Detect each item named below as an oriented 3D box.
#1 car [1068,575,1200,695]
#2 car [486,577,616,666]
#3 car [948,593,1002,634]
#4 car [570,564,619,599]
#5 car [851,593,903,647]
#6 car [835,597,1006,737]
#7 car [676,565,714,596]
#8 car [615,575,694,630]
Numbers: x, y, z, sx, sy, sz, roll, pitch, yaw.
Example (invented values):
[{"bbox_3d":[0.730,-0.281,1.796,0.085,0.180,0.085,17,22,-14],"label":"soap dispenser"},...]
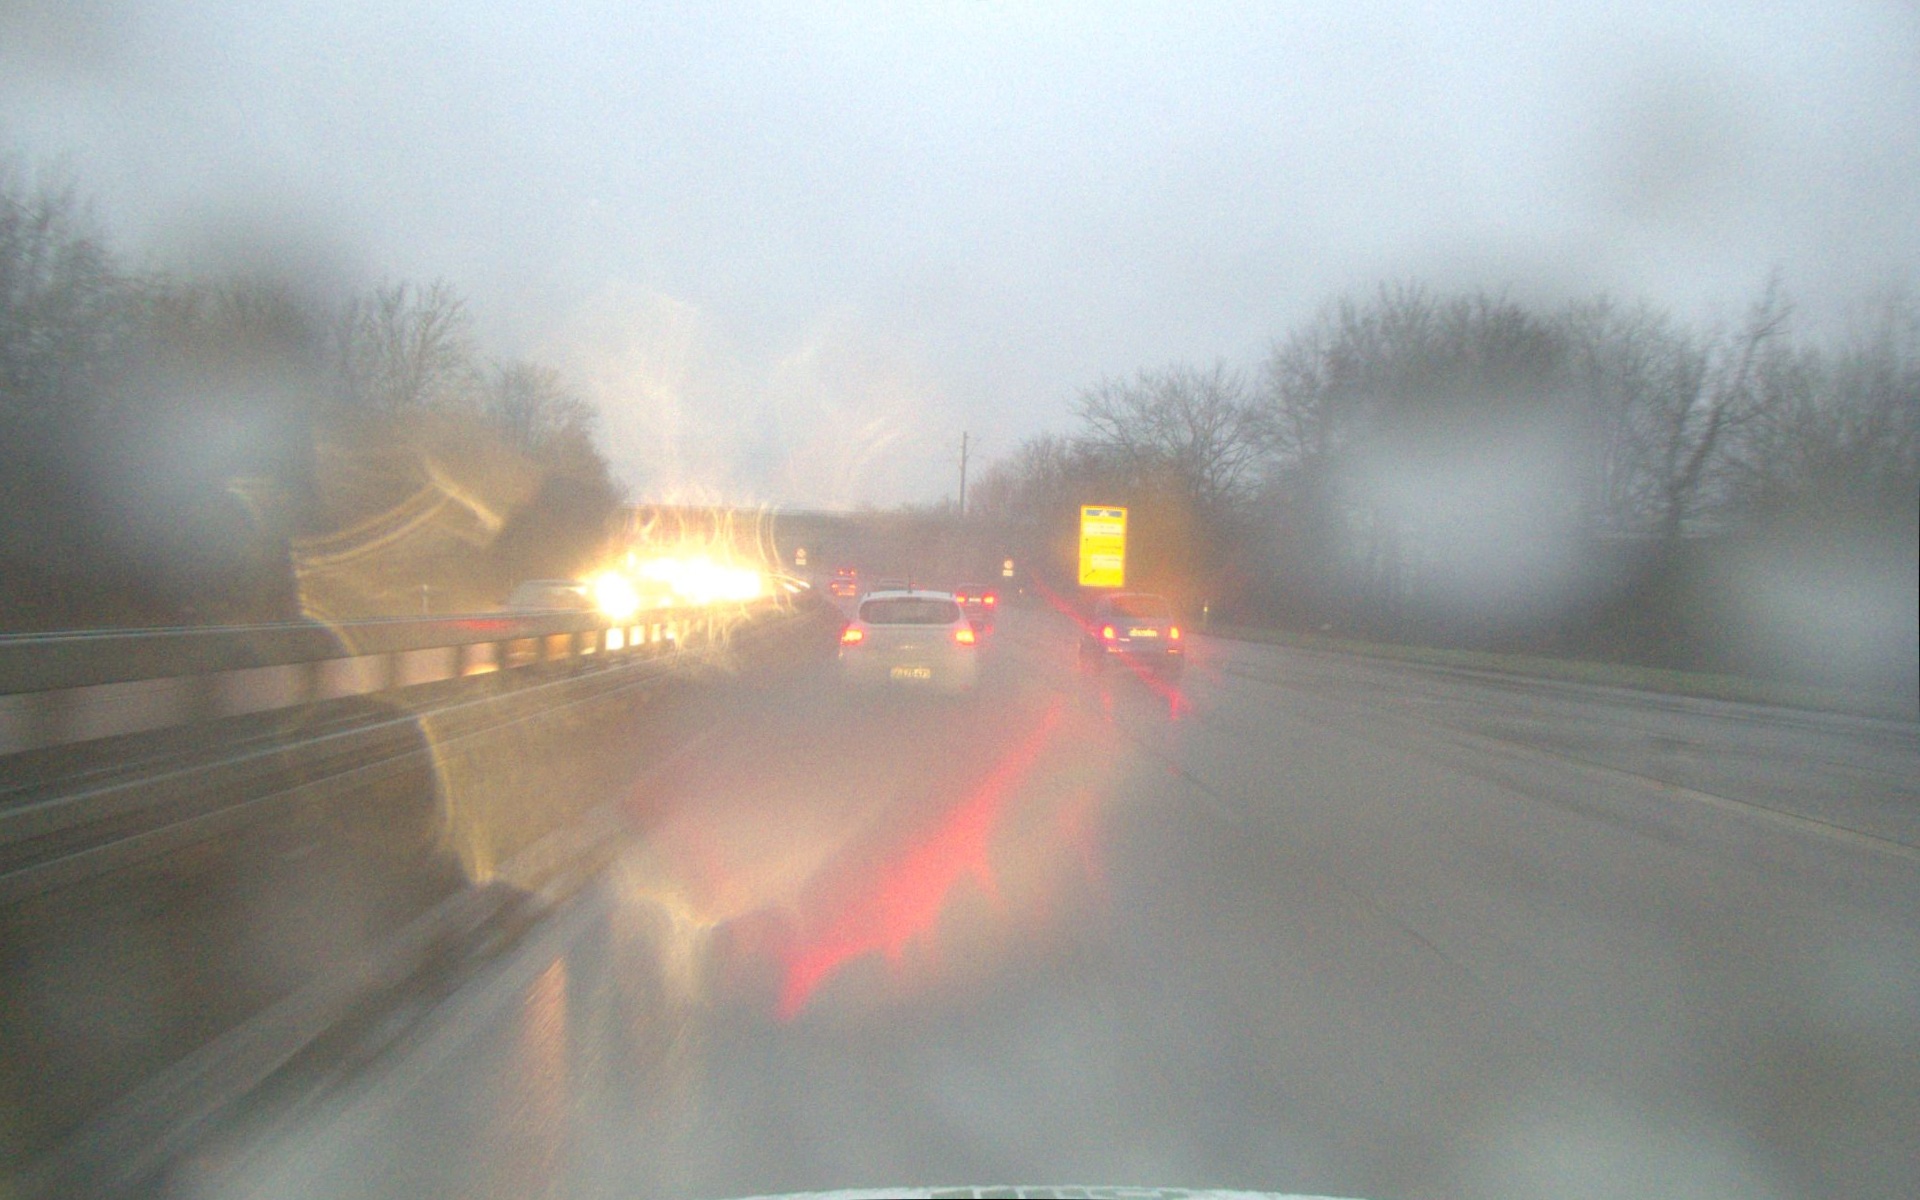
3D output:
[{"bbox_3d":[3.212,0.619,31.229,1.894,2.054,3.771,2,0,-3],"label":"car"},{"bbox_3d":[-7.674,0.380,31.305,1.620,1.545,3.504,2,0,-1],"label":"car"},{"bbox_3d":[0.612,0.600,71.434,1.895,1.573,3.769,-4,-1,-5],"label":"car"},{"bbox_3d":[-20.271,-1.002,91.934,1.843,1.864,4.784,2,0,-3],"label":"car"},{"bbox_3d":[-3.352,0.775,66.557,1.954,2.049,3.998,2,0,-3],"label":"car"},{"bbox_3d":[-0.466,0.797,21.655,1.983,1.602,4.000,2,0,0],"label":"car"},{"bbox_3d":[-16.838,-1.207,105.403,1.846,1.864,4.784,2,0,-3],"label":"car"},{"bbox_3d":[-9.261,0.070,50.433,1.747,1.536,4.133,2,0,-2],"label":"car"}]
